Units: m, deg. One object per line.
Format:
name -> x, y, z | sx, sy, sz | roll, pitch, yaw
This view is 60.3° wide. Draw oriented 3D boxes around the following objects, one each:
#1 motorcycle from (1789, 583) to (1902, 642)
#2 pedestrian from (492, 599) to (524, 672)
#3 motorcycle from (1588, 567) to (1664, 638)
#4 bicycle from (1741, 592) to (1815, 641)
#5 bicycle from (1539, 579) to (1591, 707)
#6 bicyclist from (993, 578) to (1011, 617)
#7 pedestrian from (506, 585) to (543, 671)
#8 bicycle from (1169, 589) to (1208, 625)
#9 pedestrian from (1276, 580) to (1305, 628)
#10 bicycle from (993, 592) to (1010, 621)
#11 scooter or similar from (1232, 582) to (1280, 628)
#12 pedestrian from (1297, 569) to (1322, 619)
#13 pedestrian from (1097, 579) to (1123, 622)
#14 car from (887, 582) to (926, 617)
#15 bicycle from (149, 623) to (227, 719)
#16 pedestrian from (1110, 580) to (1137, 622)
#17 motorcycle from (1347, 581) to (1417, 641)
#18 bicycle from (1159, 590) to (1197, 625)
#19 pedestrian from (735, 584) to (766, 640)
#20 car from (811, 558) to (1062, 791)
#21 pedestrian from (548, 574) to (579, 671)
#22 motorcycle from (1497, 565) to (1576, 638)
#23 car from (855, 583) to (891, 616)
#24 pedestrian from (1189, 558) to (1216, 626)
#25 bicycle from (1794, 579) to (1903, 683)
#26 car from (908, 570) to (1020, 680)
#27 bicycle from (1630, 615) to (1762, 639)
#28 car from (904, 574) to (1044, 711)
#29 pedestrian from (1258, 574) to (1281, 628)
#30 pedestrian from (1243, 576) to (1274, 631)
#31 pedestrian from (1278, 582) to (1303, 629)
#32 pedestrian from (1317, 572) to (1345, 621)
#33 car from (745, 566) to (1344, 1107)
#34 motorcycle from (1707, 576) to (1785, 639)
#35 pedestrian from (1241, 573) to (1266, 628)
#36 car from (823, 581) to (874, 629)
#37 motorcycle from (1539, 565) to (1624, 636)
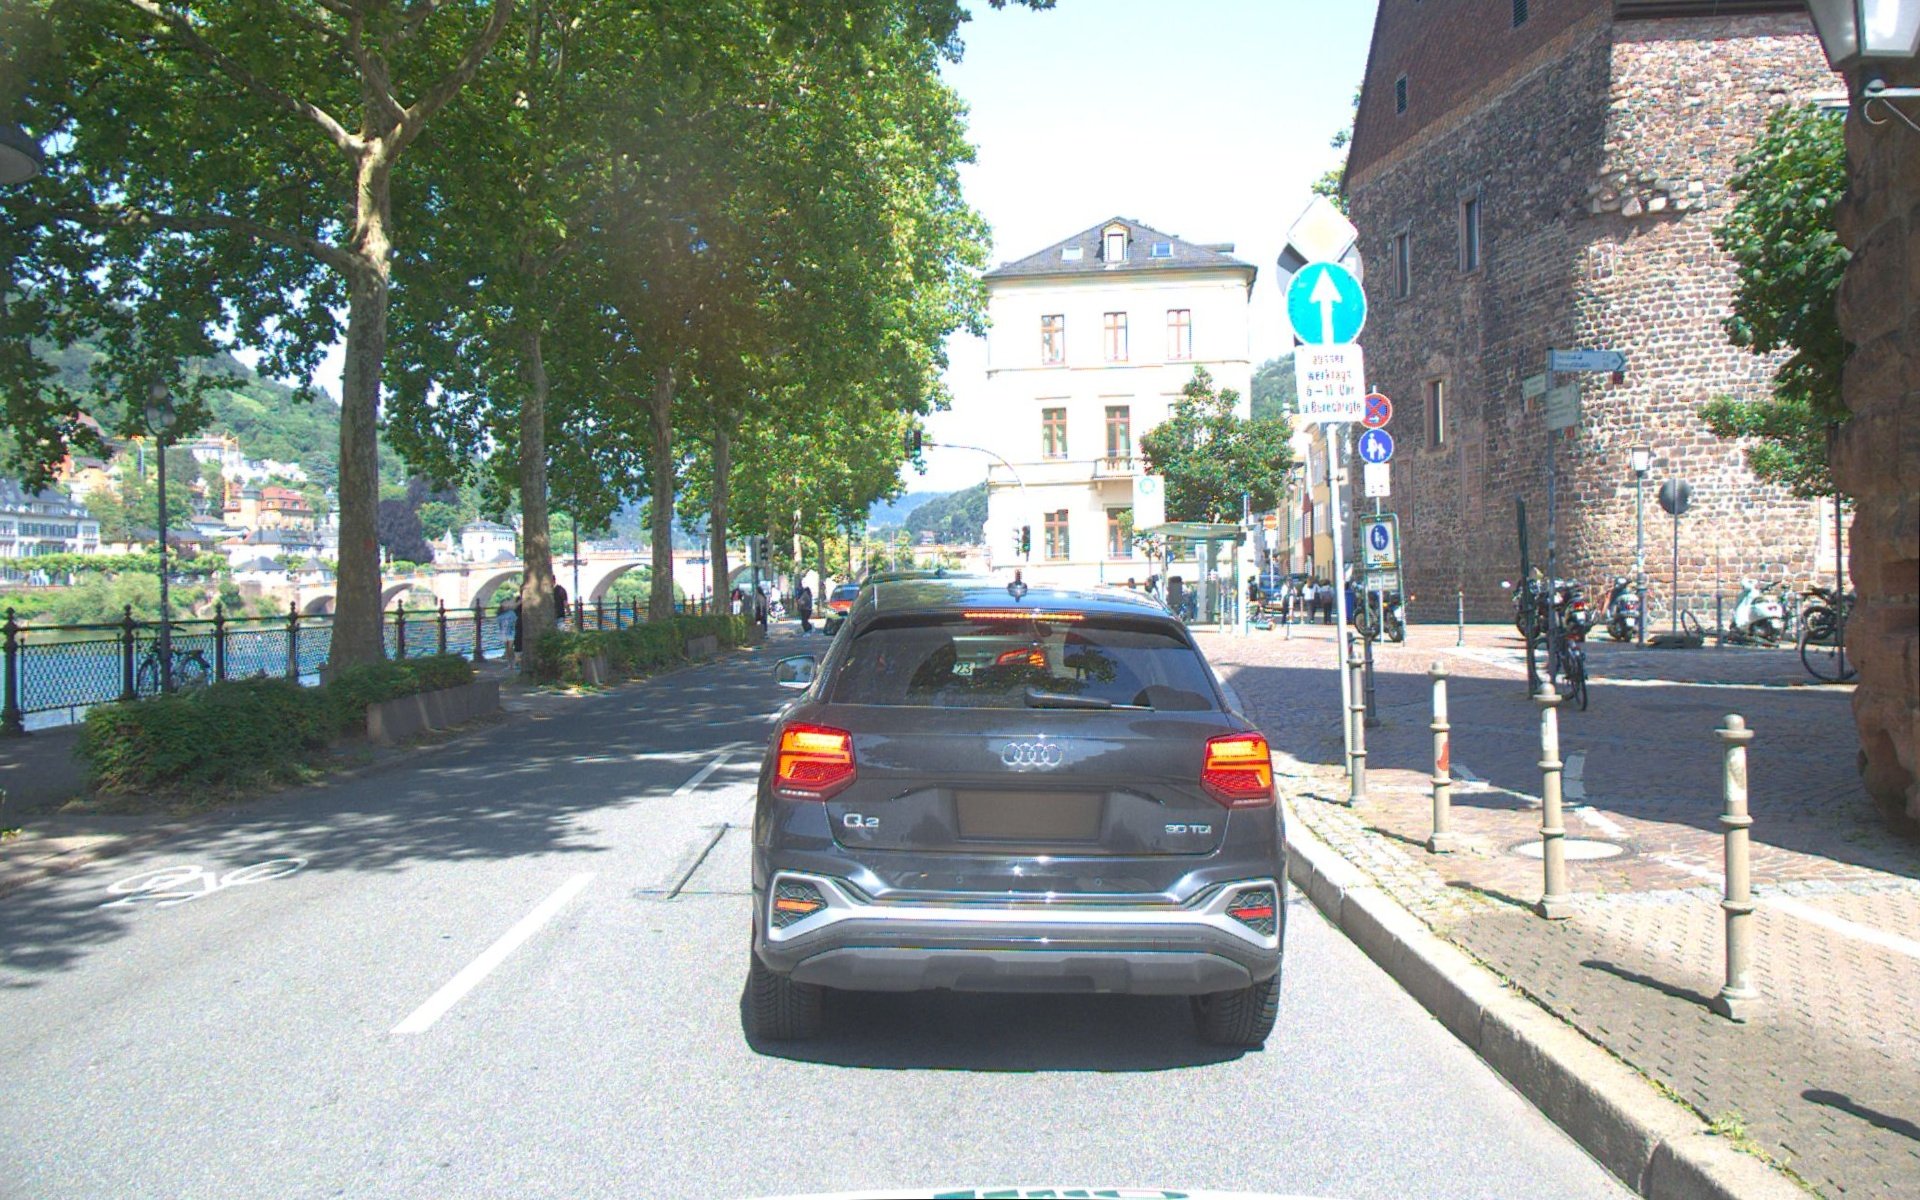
motorcycle -> 16.722, 0.230, 31.263 | 1.826, 1.072, 0.480 | 1, -1, 7
pedestrian -> -8.699, 0.673, 31.839 | 0.469, 1.386, 0.417 | 0, 0, 3
motorcycle -> 12.275, 0.052, 30.546 | 0.535, 1.257, 2.030 | 1, 0, -1
bicycle -> 15.128, 0.292, 30.621 | 0.346, 0.835, 1.926 | 1, 1, -2
bicycle -> 6.142, 0.403, 16.829 | 0.189, 1.225, 1.771 | 0, 1, 10
bicyclist -> 1.569, -0.085, 62.436 | 0.593, 1.475, 0.590 | 1, -1, -6
pedestrian -> -8.817, 0.564, 33.493 | 0.589, 1.715, 0.583 | -1, 0, -2
bicycle -> 6.775, 0.212, 49.068 | 1.184, 1.053, 0.178 | 1, -1, -20
pedestrian -> 10.359, 0.118, 51.897 | 0.626, 1.469, 0.797 | -2, 0, -7
bicycle -> 1.564, 0.244, 62.428 | 0.428, 1.105, 1.675 | 1, 0, -5
scooter or similar -> 7.062, 0.122, 39.495 | 1.067, 1.084, 0.323 | 1, -1, -3
pedestrian -> 11.824, -0.198, 56.007 | 0.595, 1.647, 0.710 | -3, 0, -1
pedestrian -> 4.439, 0.003, 48.933 | 0.651, 1.253, 0.640 | 1, -1, -7
car -> -2.901, -0.019, 90.487 | 1.952, 1.838, 4.000 | 1, 0, 1
bicycle -> -9.532, 0.859, 20.461 | 0.352, 1.110, 1.295 | 2, 0, -2
pedestrian -> 4.765, 0.030, 48.241 | 0.651, 1.233, 0.640 | 1, -1, -7
motorcycle -> 7.693, 0.181, 30.245 | 0.555, 1.030, 2.489 | -1, 1, -2
bicycle -> 6.556, 0.216, 49.704 | 1.166, 1.033, 0.178 | 1, -1, -20
pedestrian -> -6.980, 0.409, 55.082 | 0.891, 1.843, 0.586 | 1, 0, 3
car -> -0.192, 0.517, 13.443 | 1.756, 1.623, 3.398 | 1, 0, -1
pedestrian -> -7.977, 0.448, 33.286 | 0.523, 1.920, 0.436 | 0, 0, -1
motorcycle -> 10.512, 0.035, 30.212 | 0.642, 1.288, 2.199 | 0, 0, -1
car -> -4.681, -0.040, 89.188 | 1.733, 1.689, 3.999 | -3, 0, -1
pedestrian -> 6.150, -0.196, 42.023 | 0.640, 1.691, 0.810 | -1, 0, 8
bicycle -> 10.611, 0.346, 19.808 | 0.437, 1.182, 1.731 | -1, 1, 3
car -> 0.036, 0.383, 28.113 | 1.758, 1.711, 3.999 | 1, 0, -1
bicycle -> 12.300, 0.451, 27.707 | 1.887, 0.388, 0.918 | 0, -1, 14
car -> 0.144, 0.495, 21.582 | 1.676, 1.637, 3.654 | 0, 0, -1
pedestrian -> 13.882, 0.035, 74.234 | 0.861, 2.399, 0.745 | 1, -1, -1
pedestrian -> 11.331, 0.131, 62.802 | 0.922, 2.049, 0.806 | 1, -1, -8
pedestrian -> 14.885, 0.249, 74.426 | 0.925, 2.049, 0.807 | 1, -1, -1
pedestrian -> 12.554, -0.127, 56.016 | 0.677, 1.640, 0.891 | -2, 0, -1
car -> 0.221, 0.665, 6.599 | 1.707, 1.535, 3.646 | 1, 1, -1
motorcycle -> 14.043, 0.132, 29.593 | 0.496, 1.092, 1.840 | 1, 0, -1
pedestrian -> 7.608, 0.014, 42.847 | 0.546, 1.409, 0.588 | 1, -1, 1
car -> -4.210, 0.167, 62.944 | 1.639, 1.689, 4.222 | -3, 0, -1
motorcycle -> 11.427, 0.017, 30.504 | 0.661, 1.257, 2.312 | 1, 0, -1
